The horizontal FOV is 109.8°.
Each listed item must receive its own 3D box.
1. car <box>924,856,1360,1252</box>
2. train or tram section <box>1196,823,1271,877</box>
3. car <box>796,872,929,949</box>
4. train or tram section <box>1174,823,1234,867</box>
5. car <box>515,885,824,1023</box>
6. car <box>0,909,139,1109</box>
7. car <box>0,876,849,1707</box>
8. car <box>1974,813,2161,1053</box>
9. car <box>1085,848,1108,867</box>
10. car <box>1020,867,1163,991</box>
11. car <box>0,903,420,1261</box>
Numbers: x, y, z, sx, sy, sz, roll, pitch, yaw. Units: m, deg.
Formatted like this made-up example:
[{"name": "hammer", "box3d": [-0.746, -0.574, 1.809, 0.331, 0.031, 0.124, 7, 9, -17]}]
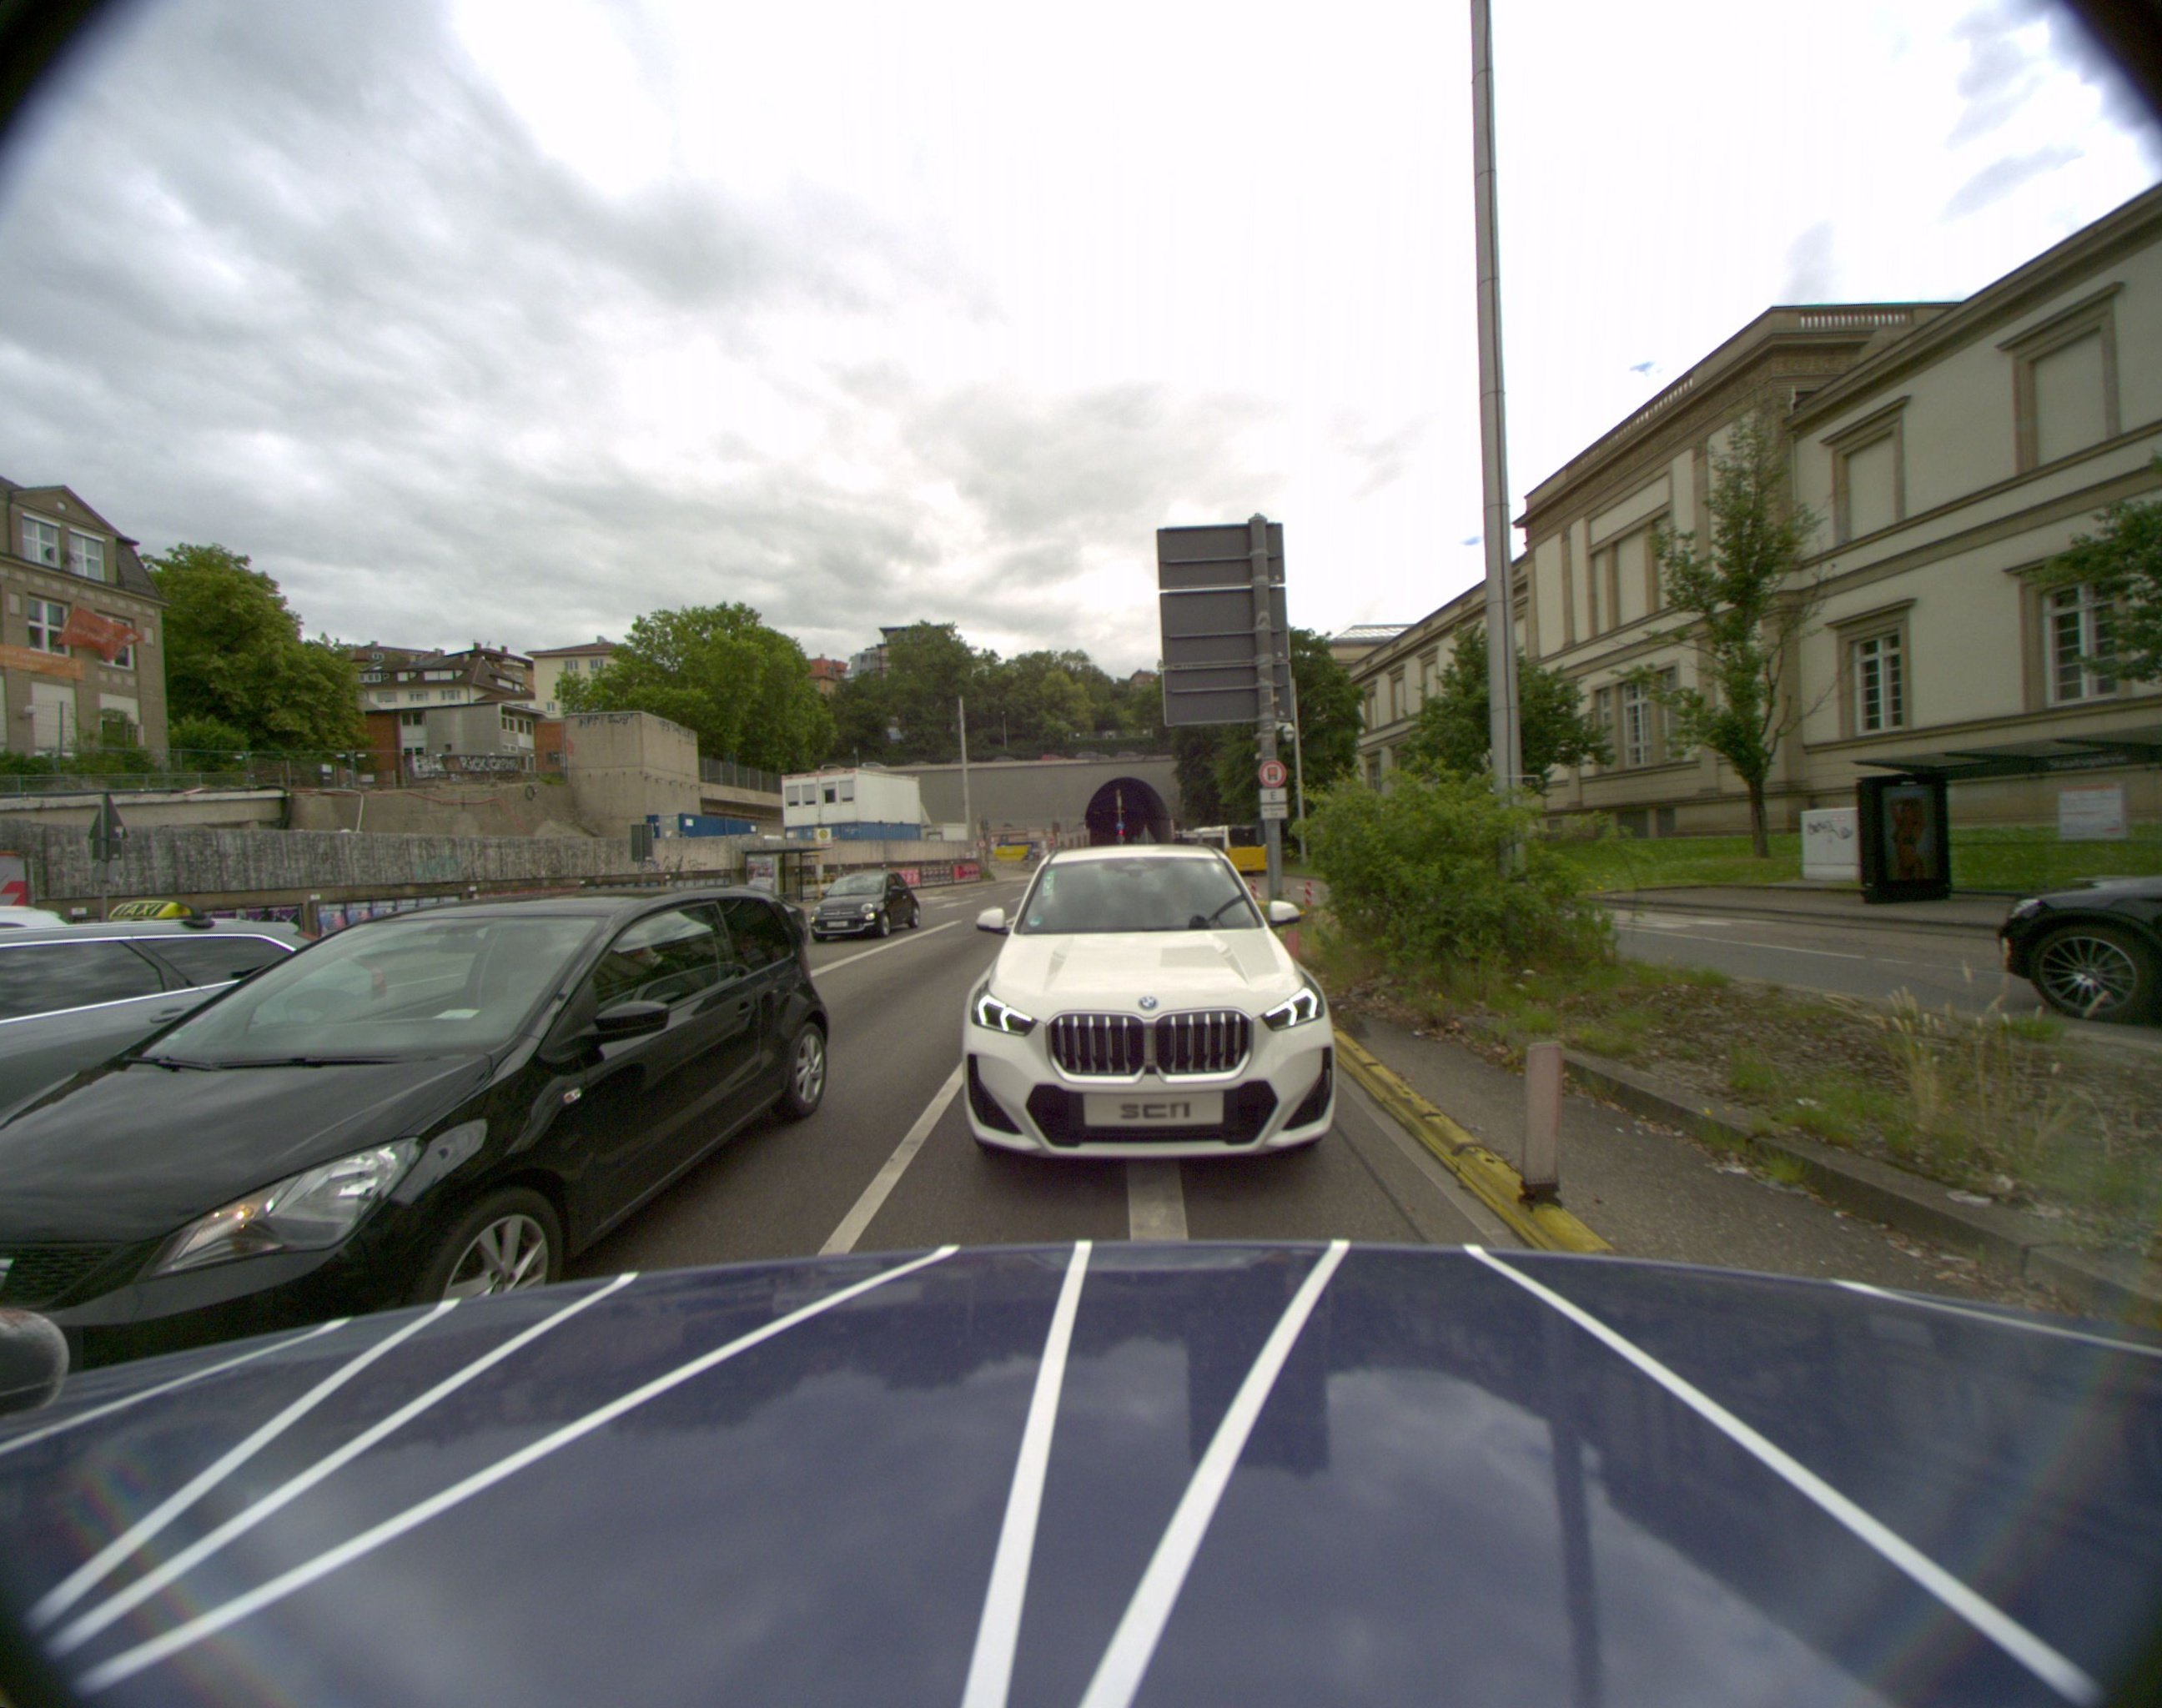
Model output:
[{"name": "car", "box3d": [0.334, 0.851, 5.115, 1.756, 1.547, 3.911, -2, 1, 3]}, {"name": "train or tram section", "box3d": [9.579, -0.242, 48.807, 2.701, 3.053, 9.335, -1, 0, -1]}, {"name": "car", "box3d": [-4.974, 1.233, 17.830, 1.720, 1.450, 3.782, -3, 0, 4]}, {"name": "train or tram section", "box3d": [9.257, -0.610, 58.167, 2.701, 3.053, 9.374, -1, 0, -2]}, {"name": "car", "box3d": [-5.404, 1.230, 10.753, 1.826, 1.356, 4.219, -2, 0, 4]}, {"name": "car", "box3d": [-9.155, 1.262, 4.572, 1.826, 1.457, 4.073, -2, 1, 0]}, {"name": "car", "box3d": [-2.534, 0.982, 3.268, 1.661, 1.547, 3.911, -2, 1, 3]}, {"name": "car", "box3d": [8.340, 0.519, 4.043, 1.885, 1.616, 4.369, -2, 1, -4]}, {"name": "car", "box3d": [1.393, 0.279, 67.732, 1.948, 1.565, 3.999, -2, 1, 1]}, {"name": "car", "box3d": [0.216, 0.994, 11.591, 1.756, 1.427, 3.911, -2, 0, 3]}, {"name": "car", "box3d": [-5.829, 1.147, 3.447, 1.826, 1.457, 4.217, -2, 1, 2]}]
